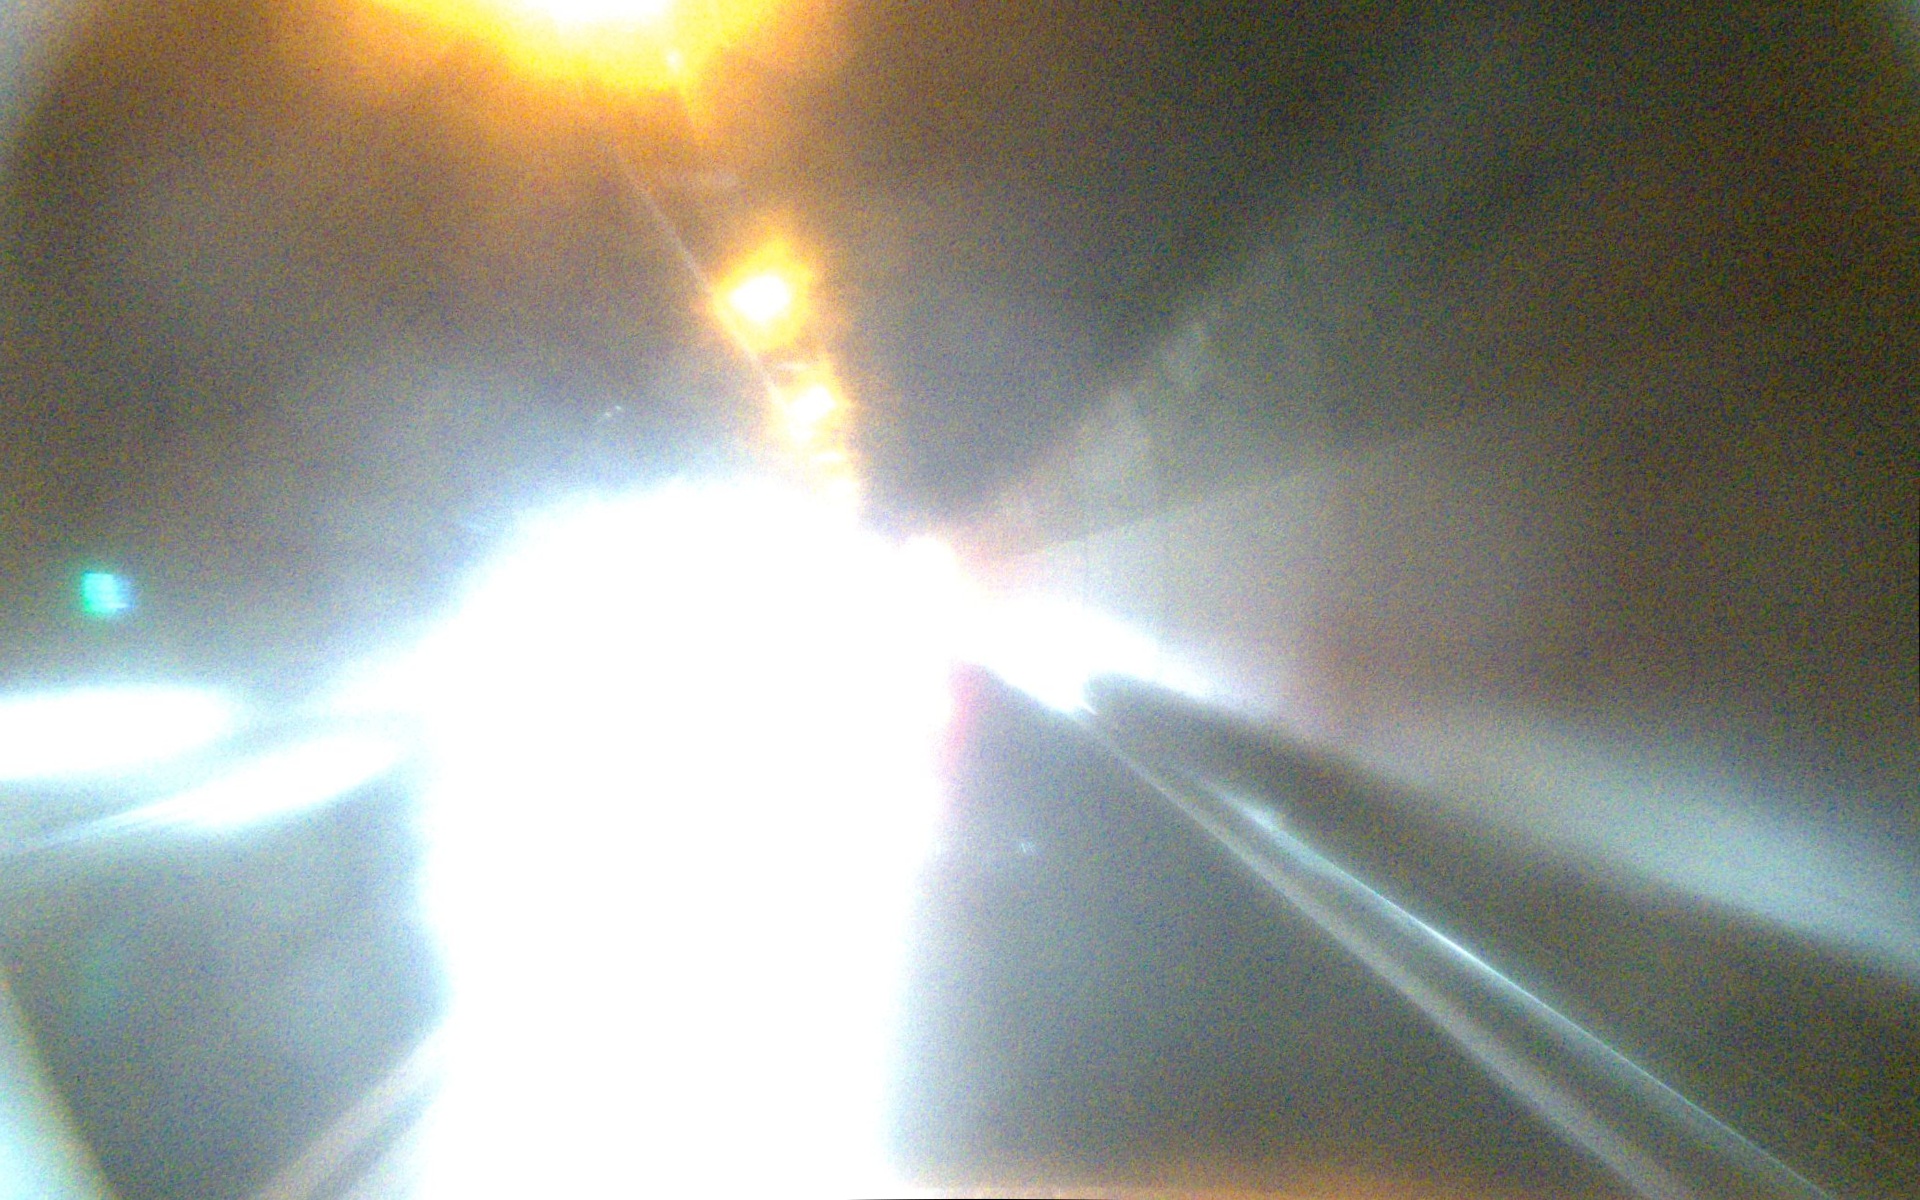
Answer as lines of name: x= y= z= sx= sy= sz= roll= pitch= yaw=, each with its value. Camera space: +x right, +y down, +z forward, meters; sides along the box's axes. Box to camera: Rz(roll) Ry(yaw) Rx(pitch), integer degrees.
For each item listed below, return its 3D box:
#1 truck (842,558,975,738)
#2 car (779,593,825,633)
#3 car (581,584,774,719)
truck: x=-0.951 y=0.853 z=32.628 sx=2.216 sy=3.063 sz=7.413 roll=2 pitch=0 yaw=-1
car: x=-6.424 y=0.503 z=67.501 sx=1.622 sy=1.519 sz=3.837 roll=2 pitch=0 yaw=-2
car: x=-3.421 y=0.572 z=20.762 sx=1.776 sy=1.508 sz=4.200 roll=1 pitch=0 yaw=-1
